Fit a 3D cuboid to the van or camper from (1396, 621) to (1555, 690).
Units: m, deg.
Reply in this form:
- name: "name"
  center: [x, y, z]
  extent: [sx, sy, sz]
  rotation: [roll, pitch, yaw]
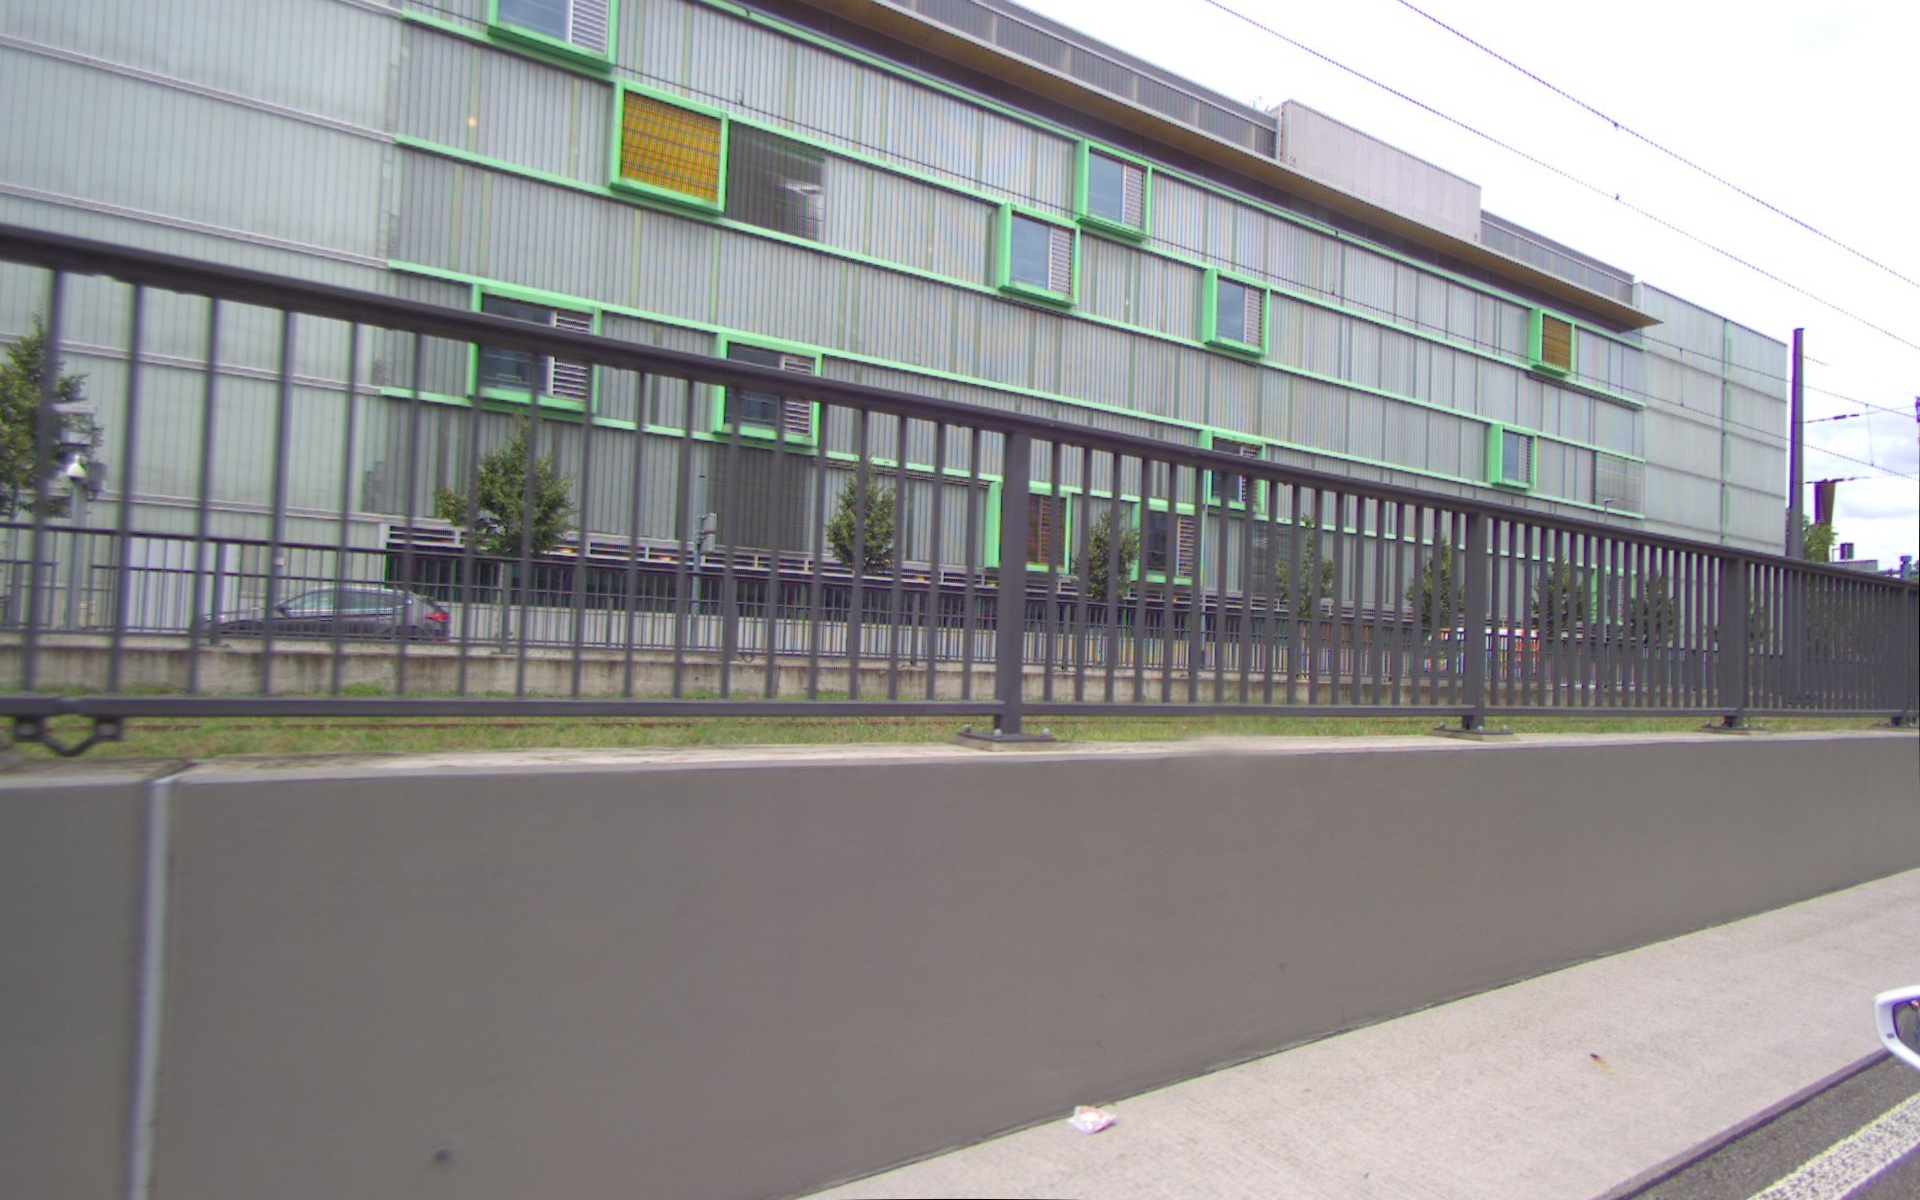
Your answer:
- name: "van or camper"
  center: [19.546, 2.122, 37.975]
  extent: [6.430, 2.316, 2.162]
  rotation: [3, -2, -30]

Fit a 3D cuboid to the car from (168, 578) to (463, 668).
- name: "car"
  center: [-12.549, 0.496, 19.979]
  extent: [4.708, 1.613, 1.985]
  rotation: [2, -2, -29]
